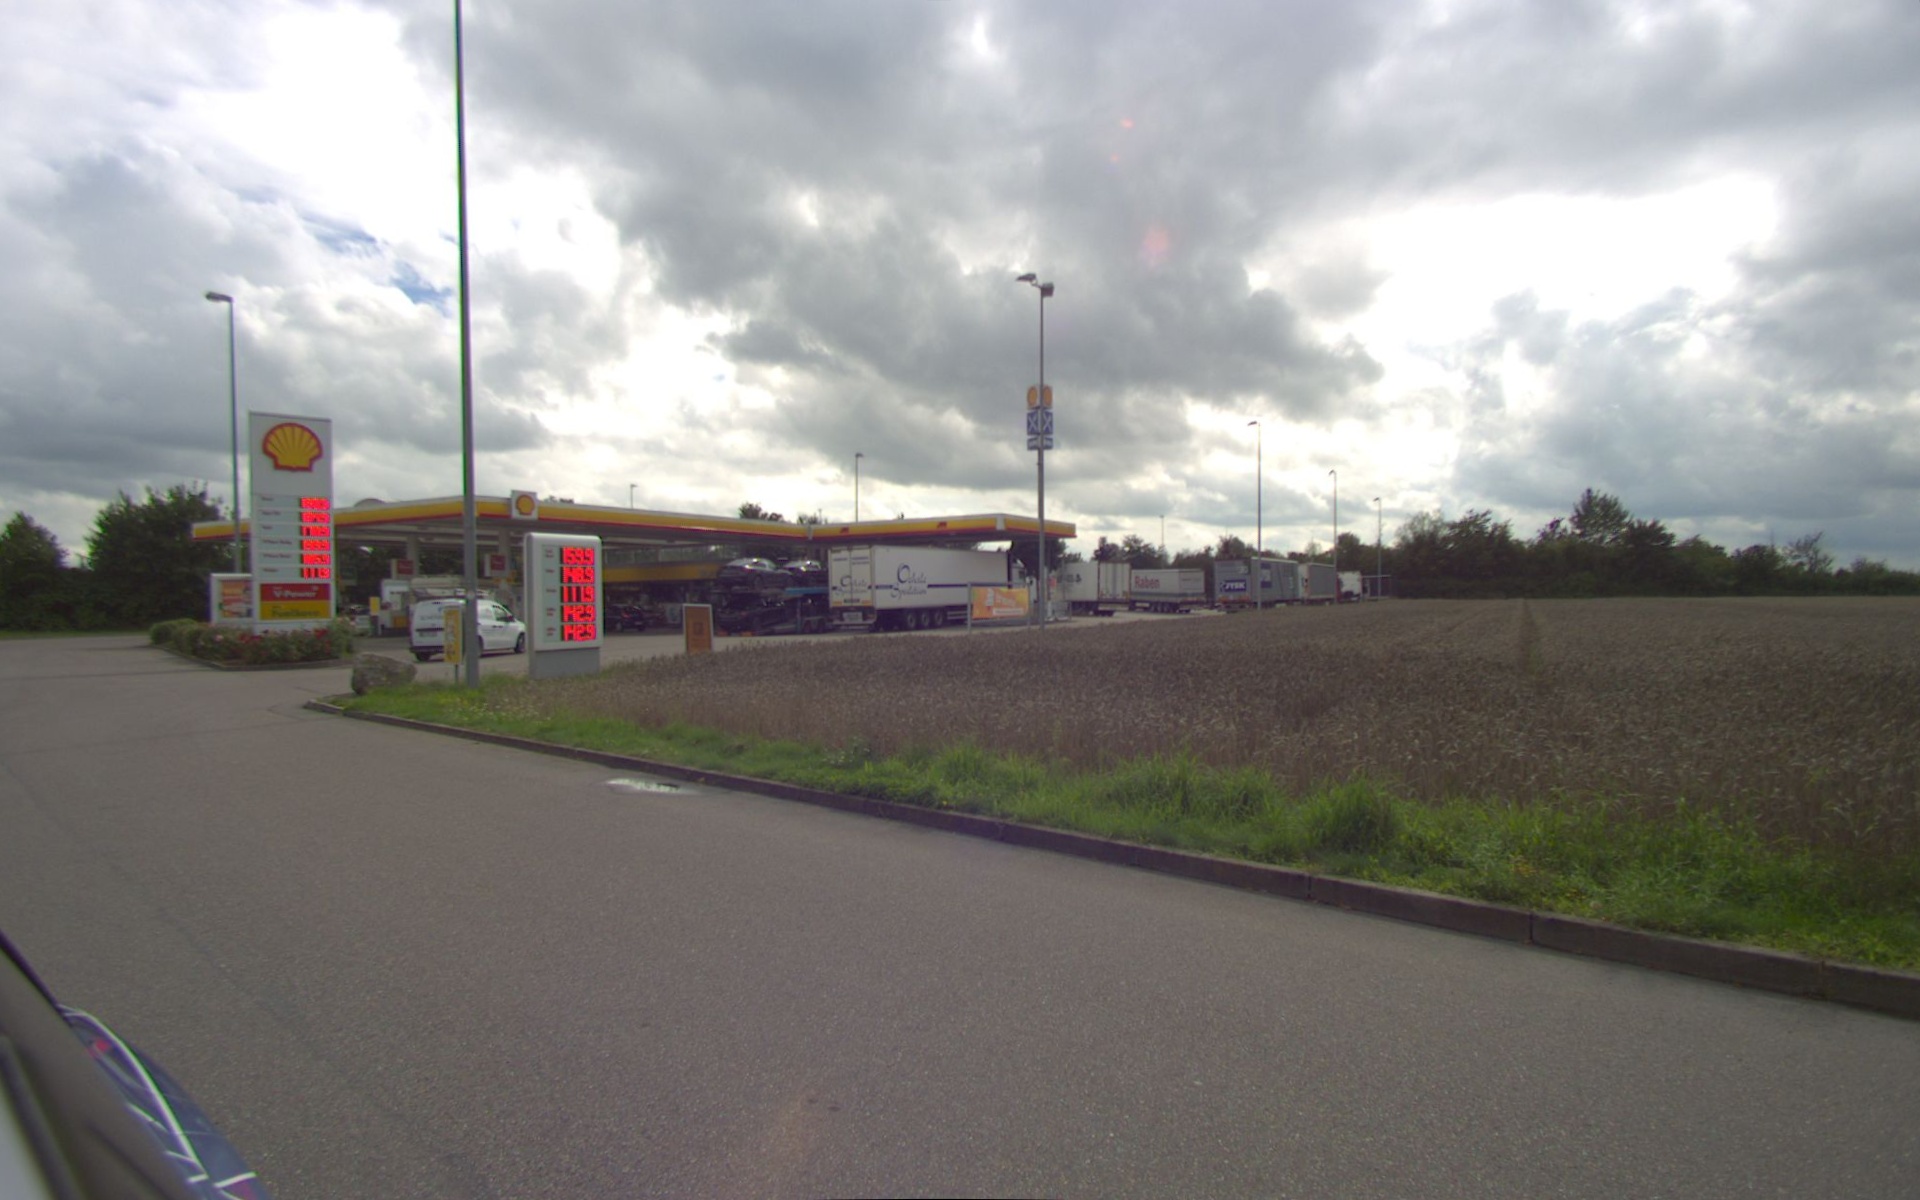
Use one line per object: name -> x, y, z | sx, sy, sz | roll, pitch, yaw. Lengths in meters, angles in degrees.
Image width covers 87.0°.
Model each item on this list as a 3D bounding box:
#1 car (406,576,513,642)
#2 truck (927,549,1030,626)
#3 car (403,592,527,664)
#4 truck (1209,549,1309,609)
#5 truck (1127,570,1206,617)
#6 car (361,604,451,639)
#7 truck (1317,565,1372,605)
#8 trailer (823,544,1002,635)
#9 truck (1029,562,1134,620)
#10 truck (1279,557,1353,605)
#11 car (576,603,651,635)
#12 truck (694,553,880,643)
car -> -22.895, 0.418, 46.640 | 2.192, 2.808, 5.811 | -1, 0, -2
truck -> 1.164, -0.648, 57.386 | 2.702, 4.055, 7.096 | -2, 0, 30
car -> -15.117, 0.834, 31.117 | 1.772, 2.027, 3.878 | -2, -1, 2
truck -> 21.855, -1.411, 73.026 | 2.815, 3.923, 15.292 | 0, 0, 32
truck -> 19.397, -0.560, 96.077 | 2.945, 4.142, 11.601 | -1, 0, -11
car -> -26.334, 1.001, 48.270 | 1.973, 1.571, 3.958 | -2, 0, 3
truck -> 39.823, -1.505, 104.428 | 2.815, 3.923, 12.668 | 0, 0, 32
trailer -> -2.021, -0.504, 51.713 | 2.702, 4.055, 12.717 | -2, 0, 30
truck -> 9.320, -0.690, 80.418 | 2.913, 4.143, 14.791 | 0, 0, -15
truck -> 31.407, -1.592, 88.771 | 2.815, 3.923, 15.292 | 0, 0, 32
car -> -18.713, 1.037, 54.717 | 3.742, 1.613, 1.701 | -2, 0, 27
truck -> -8.213, -0.142, 51.061 | 2.734, 3.953, 13.160 | 0, 0, 22
